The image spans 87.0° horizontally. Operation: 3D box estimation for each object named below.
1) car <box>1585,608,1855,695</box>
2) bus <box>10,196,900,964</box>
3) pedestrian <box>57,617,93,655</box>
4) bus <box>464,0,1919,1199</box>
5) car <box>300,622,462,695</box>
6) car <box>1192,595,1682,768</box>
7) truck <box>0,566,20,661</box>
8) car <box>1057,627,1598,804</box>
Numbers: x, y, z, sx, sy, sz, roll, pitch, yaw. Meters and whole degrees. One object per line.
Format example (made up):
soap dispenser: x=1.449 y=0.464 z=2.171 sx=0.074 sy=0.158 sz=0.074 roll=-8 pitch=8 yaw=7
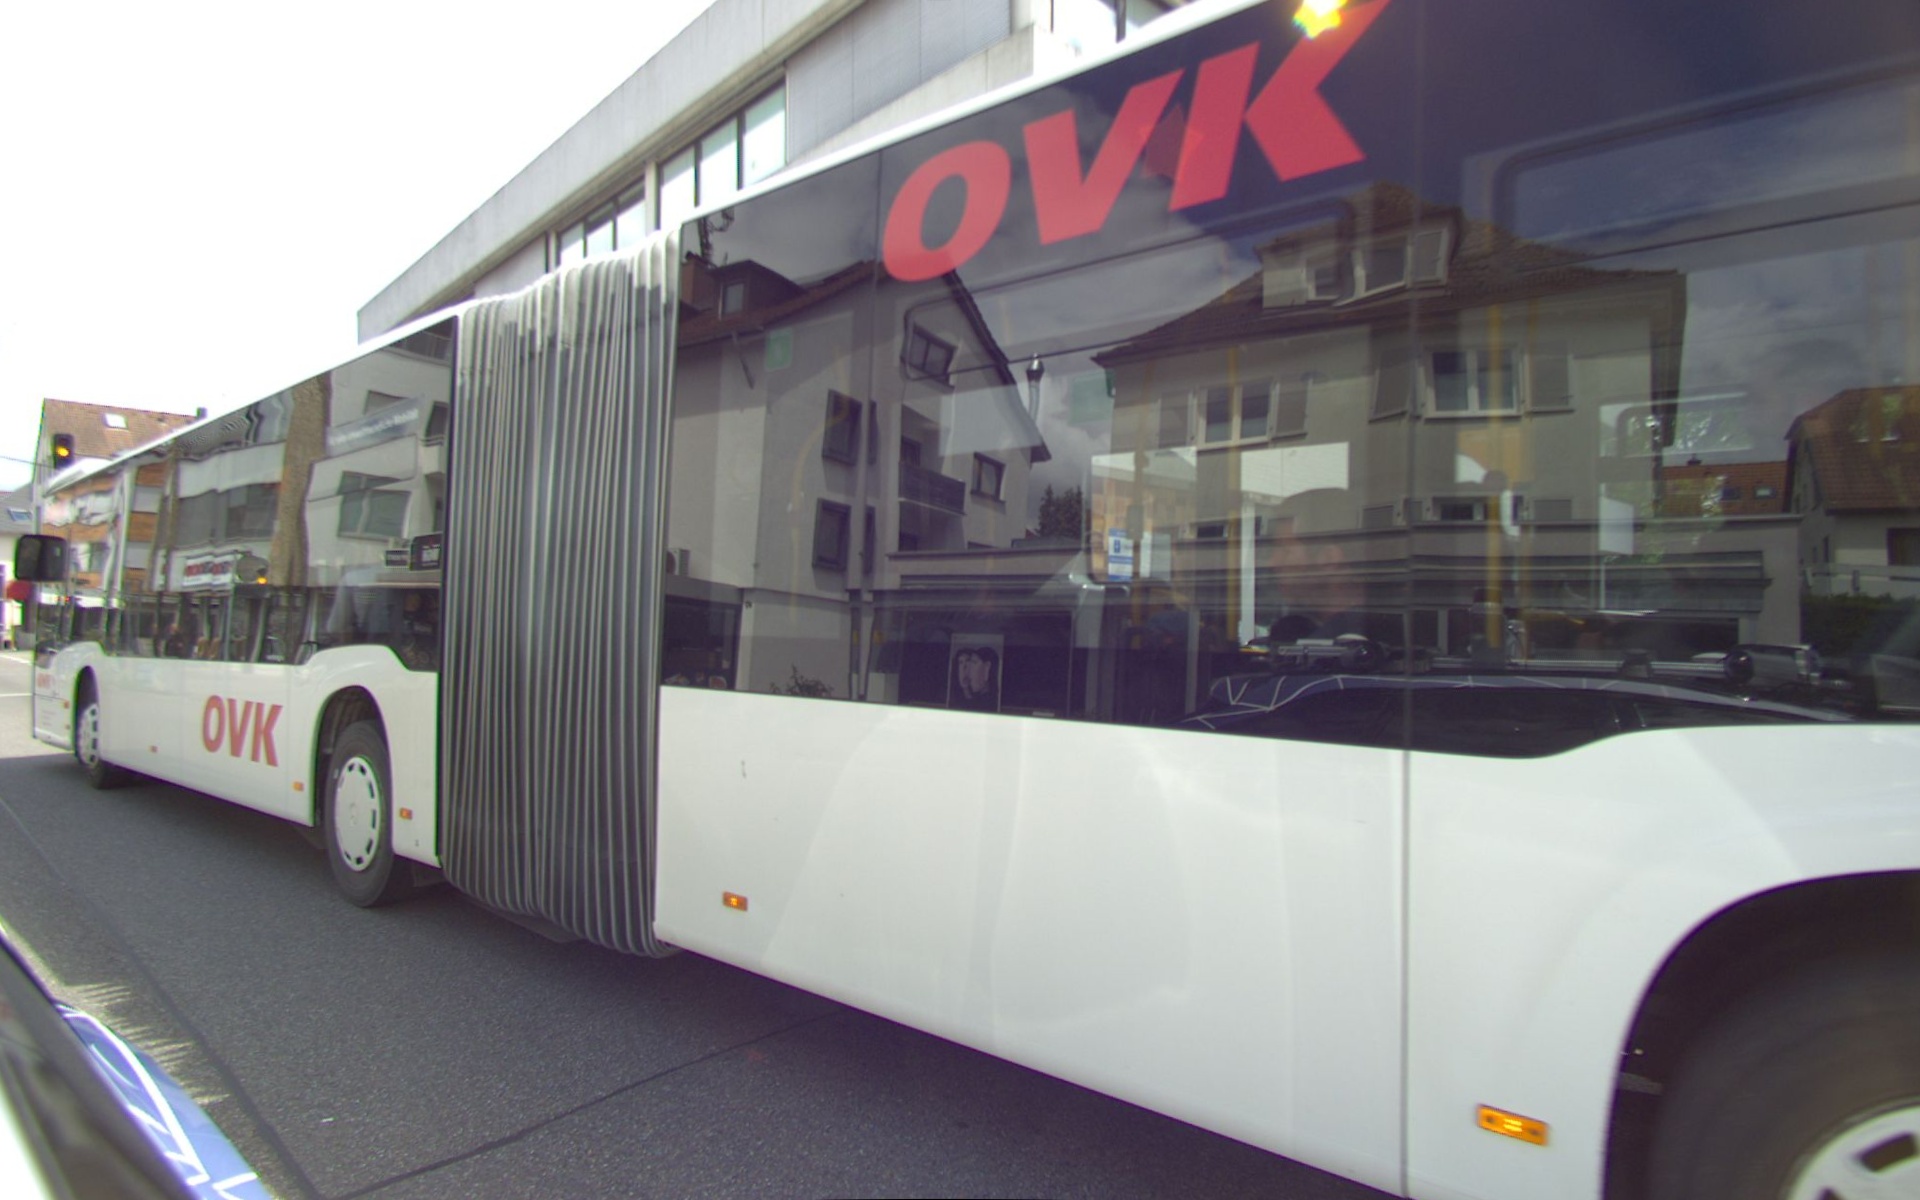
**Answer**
car: x=18.777 y=1.217 z=25.211 sx=1.944 sy=1.956 sz=5.094 roll=1 pitch=-2 yaw=-42
bus: x=-5.146 y=-0.001 z=8.447 sx=10.173 sy=3.188 sz=2.656 roll=-1 pitch=-2 yaw=39
pedestrian: x=-40.815 y=1.655 z=46.697 sx=0.839 sy=1.736 sz=0.906 roll=0 pitch=-2 yaw=0
bus: x=1.973 y=-0.138 z=2.680 sx=8.058 sy=3.188 sz=2.689 roll=-1 pitch=-2 yaw=38
car: x=-13.346 y=1.264 z=23.176 sx=2.021 sy=1.455 sz=4.955 roll=0 pitch=-1 yaw=-45
car: x=5.408 y=0.891 z=12.088 sx=1.927 sy=1.632 sz=4.935 roll=5 pitch=-5 yaw=-42
truck: x=-35.195 y=0.488 z=35.186 sx=8.085 sy=3.116 sz=2.824 roll=-1 pitch=-2 yaw=41
car: x=3.465 y=0.965 z=10.346 sx=1.928 sy=1.368 sz=4.859 roll=1 pitch=-2 yaw=-44
